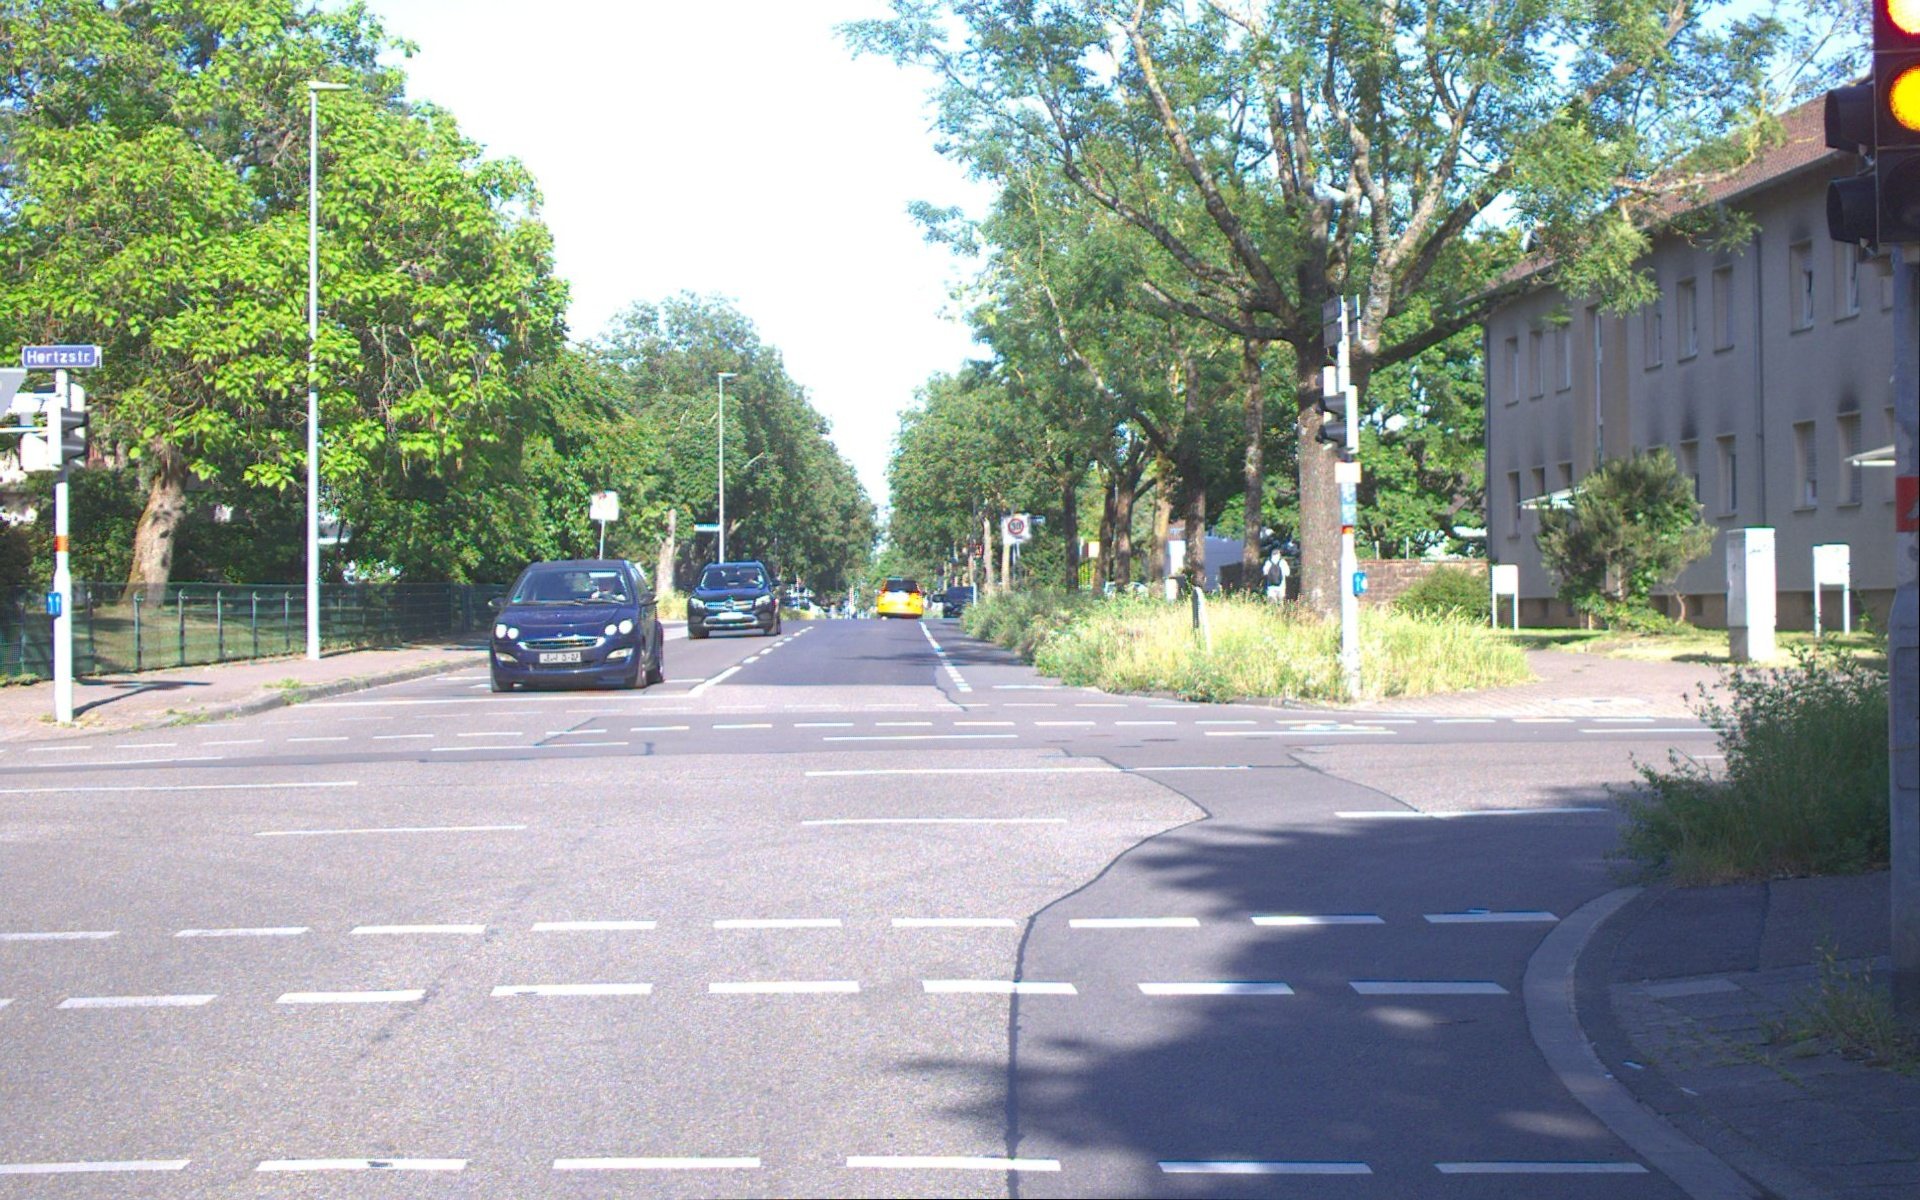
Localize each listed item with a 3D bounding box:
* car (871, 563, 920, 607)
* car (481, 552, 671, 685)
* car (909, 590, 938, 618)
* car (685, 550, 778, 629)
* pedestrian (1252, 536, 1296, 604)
[{"bbox_3d":[-2.355,-0.547,126.110,1.751,1.577,4.000,1,0,0],"label":"car"},{"bbox_3d":[-4.265,0.175,38.623,1.711,1.381,3.471,0,1,0],"label":"car"},{"bbox_3d":[-2.318,0.245,219.248,1.773,1.748,4.000,1,0,0],"label":"car"},{"bbox_3d":[-4.893,-0.245,74.011,1.758,1.619,3.268,0,1,0],"label":"car"},{"bbox_3d":[7.011,-0.666,76.804,0.842,1.488,0.924,2,1,-1],"label":"pedestrian"}]
